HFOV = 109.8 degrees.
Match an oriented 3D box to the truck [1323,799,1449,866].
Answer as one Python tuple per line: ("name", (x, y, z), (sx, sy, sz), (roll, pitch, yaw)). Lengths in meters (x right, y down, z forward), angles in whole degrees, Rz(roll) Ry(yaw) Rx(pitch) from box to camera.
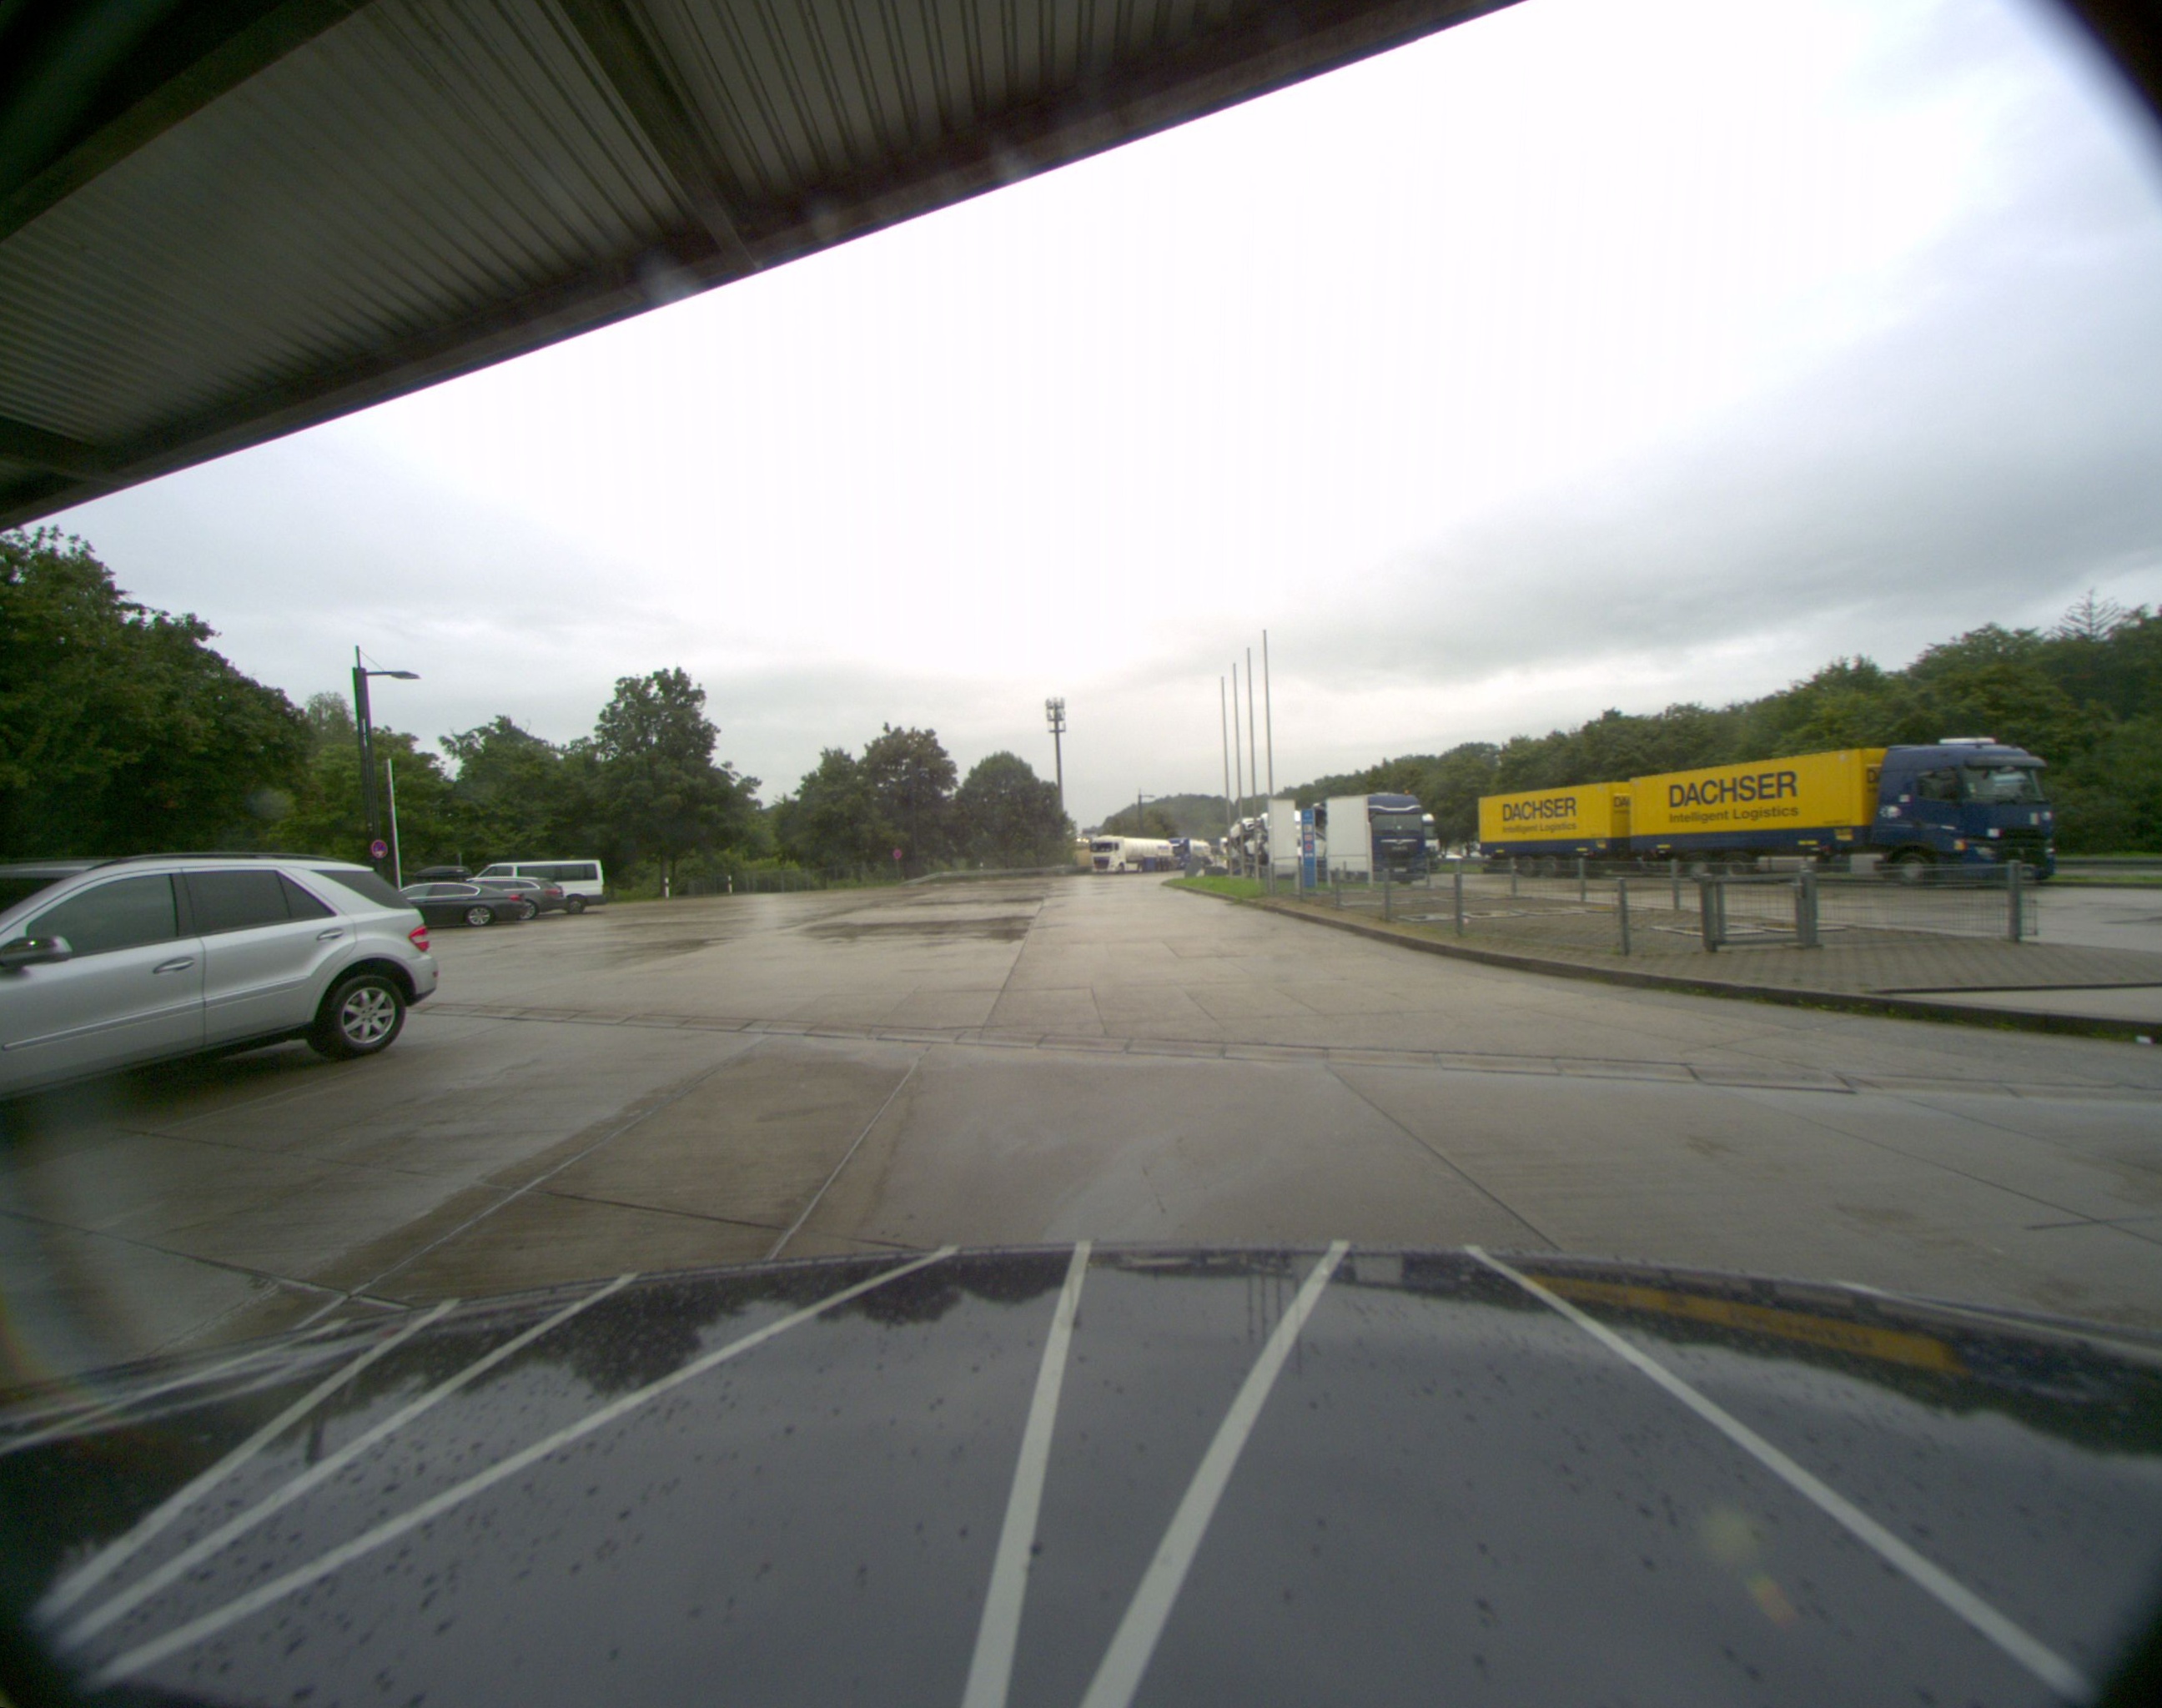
("truck", (19.882, -1.303, 50.570), (2.757, 3.894, 10.678), (-2, 1, -8))

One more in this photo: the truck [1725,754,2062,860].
("truck", (33.911, -1.763, 32.715), (2.421, 3.785, 10.223), (-2, 1, -10))

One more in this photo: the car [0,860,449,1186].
("car", (-7.093, 1.017, 5.067), (1.866, 1.788, 4.539), (-2, 1, 0))

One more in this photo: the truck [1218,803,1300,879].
("truck", (10.570, -0.731, 45.780), (2.665, 4.157, 6.618), (-2, 1, -6))

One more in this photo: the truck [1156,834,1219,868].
("truck", (12.779, -0.411, 89.691), (3.506, 3.584, 14.685), (-2, 0, 23))

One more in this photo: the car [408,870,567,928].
("car", (-19.471, 1.426, 25.159), (4.007, 1.650, 1.596), (-2, 0, -35))

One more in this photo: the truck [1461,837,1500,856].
("truck", (49.573, -0.879, 94.396), (1.730, 2.252, 4.633), (-2, 1, -10))

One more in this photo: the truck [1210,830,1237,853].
("truck", (33.399, -2.786, 178.086), (3.145, 5.092, 11.515), (-2, 1, -5))

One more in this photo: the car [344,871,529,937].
("car", (-18.875, 1.393, 22.507), (4.007, 1.650, 1.596), (-2, 0, -35))

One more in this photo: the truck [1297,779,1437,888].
("truck", (12.184, -0.799, 33.181), (2.665, 4.157, 7.103), (-2, 0, -6))

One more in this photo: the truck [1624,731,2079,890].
("truck", (23.154, -1.130, 24.328), (2.757, 3.894, 10.678), (-2, 1, -8))

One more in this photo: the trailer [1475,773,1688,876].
("trailer", (21.792, -1.187, 33.949), (2.757, 3.894, 8.700), (-2, 1, -9))

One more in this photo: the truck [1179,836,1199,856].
("truck", (23.643, -1.787, 166.648), (3.143, 4.105, 11.523), (-2, 1, 3))

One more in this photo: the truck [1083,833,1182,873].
("truck", (5.452, -0.167, 75.209), (3.505, 3.584, 14.426), (-2, 0, 31))

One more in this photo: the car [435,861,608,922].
("car", (-20.427, 1.287, 27.995), (4.898, 1.938, 2.310), (-2, 0, -35))

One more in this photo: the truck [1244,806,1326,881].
("truck", (11.046, -0.562, 41.589), (2.665, 3.750, 4.747), (-2, 1, -6))

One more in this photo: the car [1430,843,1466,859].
("car", (45.368, -0.340, 93.997), (1.730, 1.879, 4.367), (-2, 1, -10))
